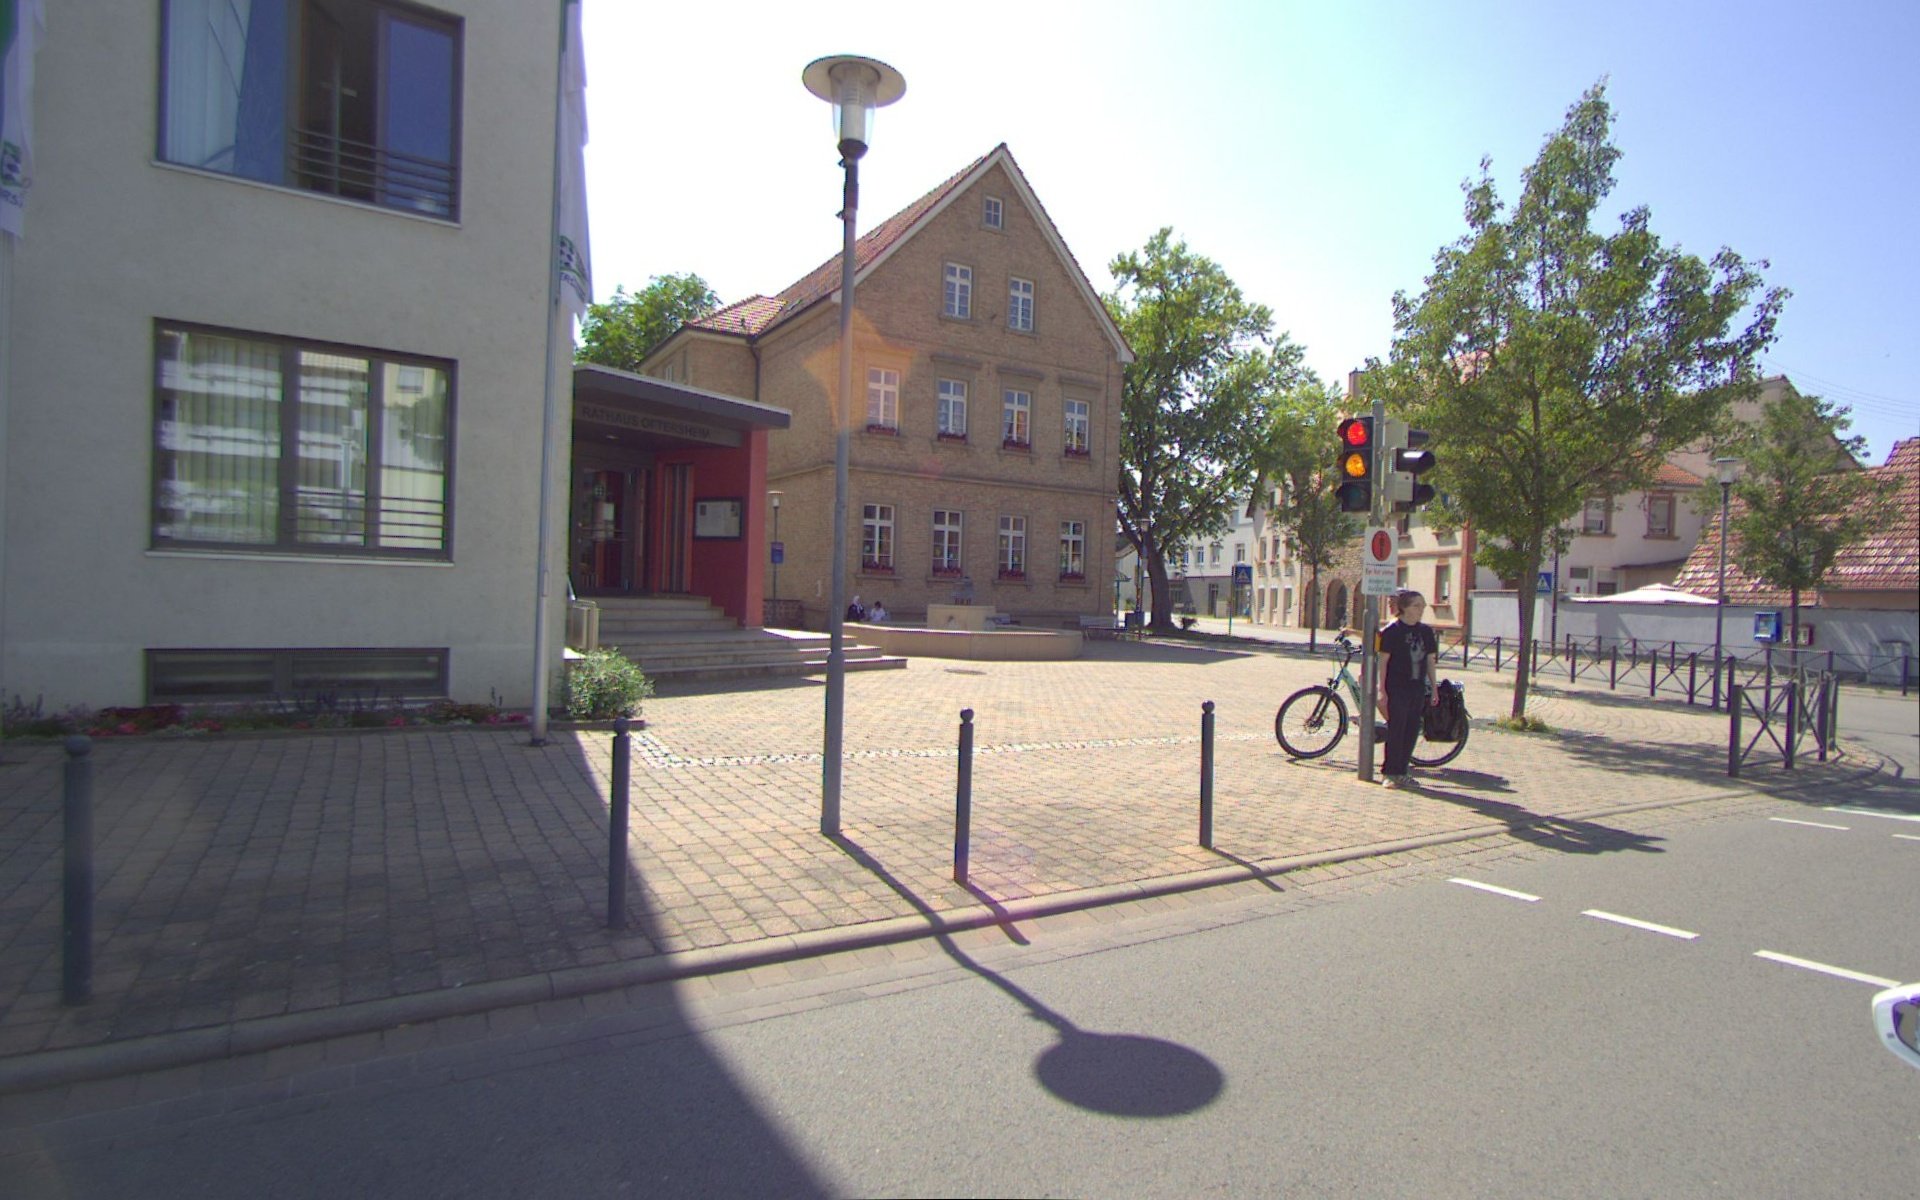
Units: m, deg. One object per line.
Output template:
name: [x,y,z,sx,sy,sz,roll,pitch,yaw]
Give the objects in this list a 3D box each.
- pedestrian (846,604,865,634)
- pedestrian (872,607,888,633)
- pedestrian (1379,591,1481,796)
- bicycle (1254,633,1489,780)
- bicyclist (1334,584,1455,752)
pedestrian: [-2.956,0.545,28.388,0.356,0.828,0.365,2,0,42]
pedestrian: [-2.302,0.581,28.883,0.352,0.742,0.288,2,0,43]
pedestrian: [3.951,0.762,8.468,0.546,1.640,0.550,3,0,4]
bicycle: [3.899,0.988,9.641,1.932,1.269,0.711,2,0,6]
bicyclist: [4.172,0.631,9.702,0.853,1.526,0.717,2,0,6]
